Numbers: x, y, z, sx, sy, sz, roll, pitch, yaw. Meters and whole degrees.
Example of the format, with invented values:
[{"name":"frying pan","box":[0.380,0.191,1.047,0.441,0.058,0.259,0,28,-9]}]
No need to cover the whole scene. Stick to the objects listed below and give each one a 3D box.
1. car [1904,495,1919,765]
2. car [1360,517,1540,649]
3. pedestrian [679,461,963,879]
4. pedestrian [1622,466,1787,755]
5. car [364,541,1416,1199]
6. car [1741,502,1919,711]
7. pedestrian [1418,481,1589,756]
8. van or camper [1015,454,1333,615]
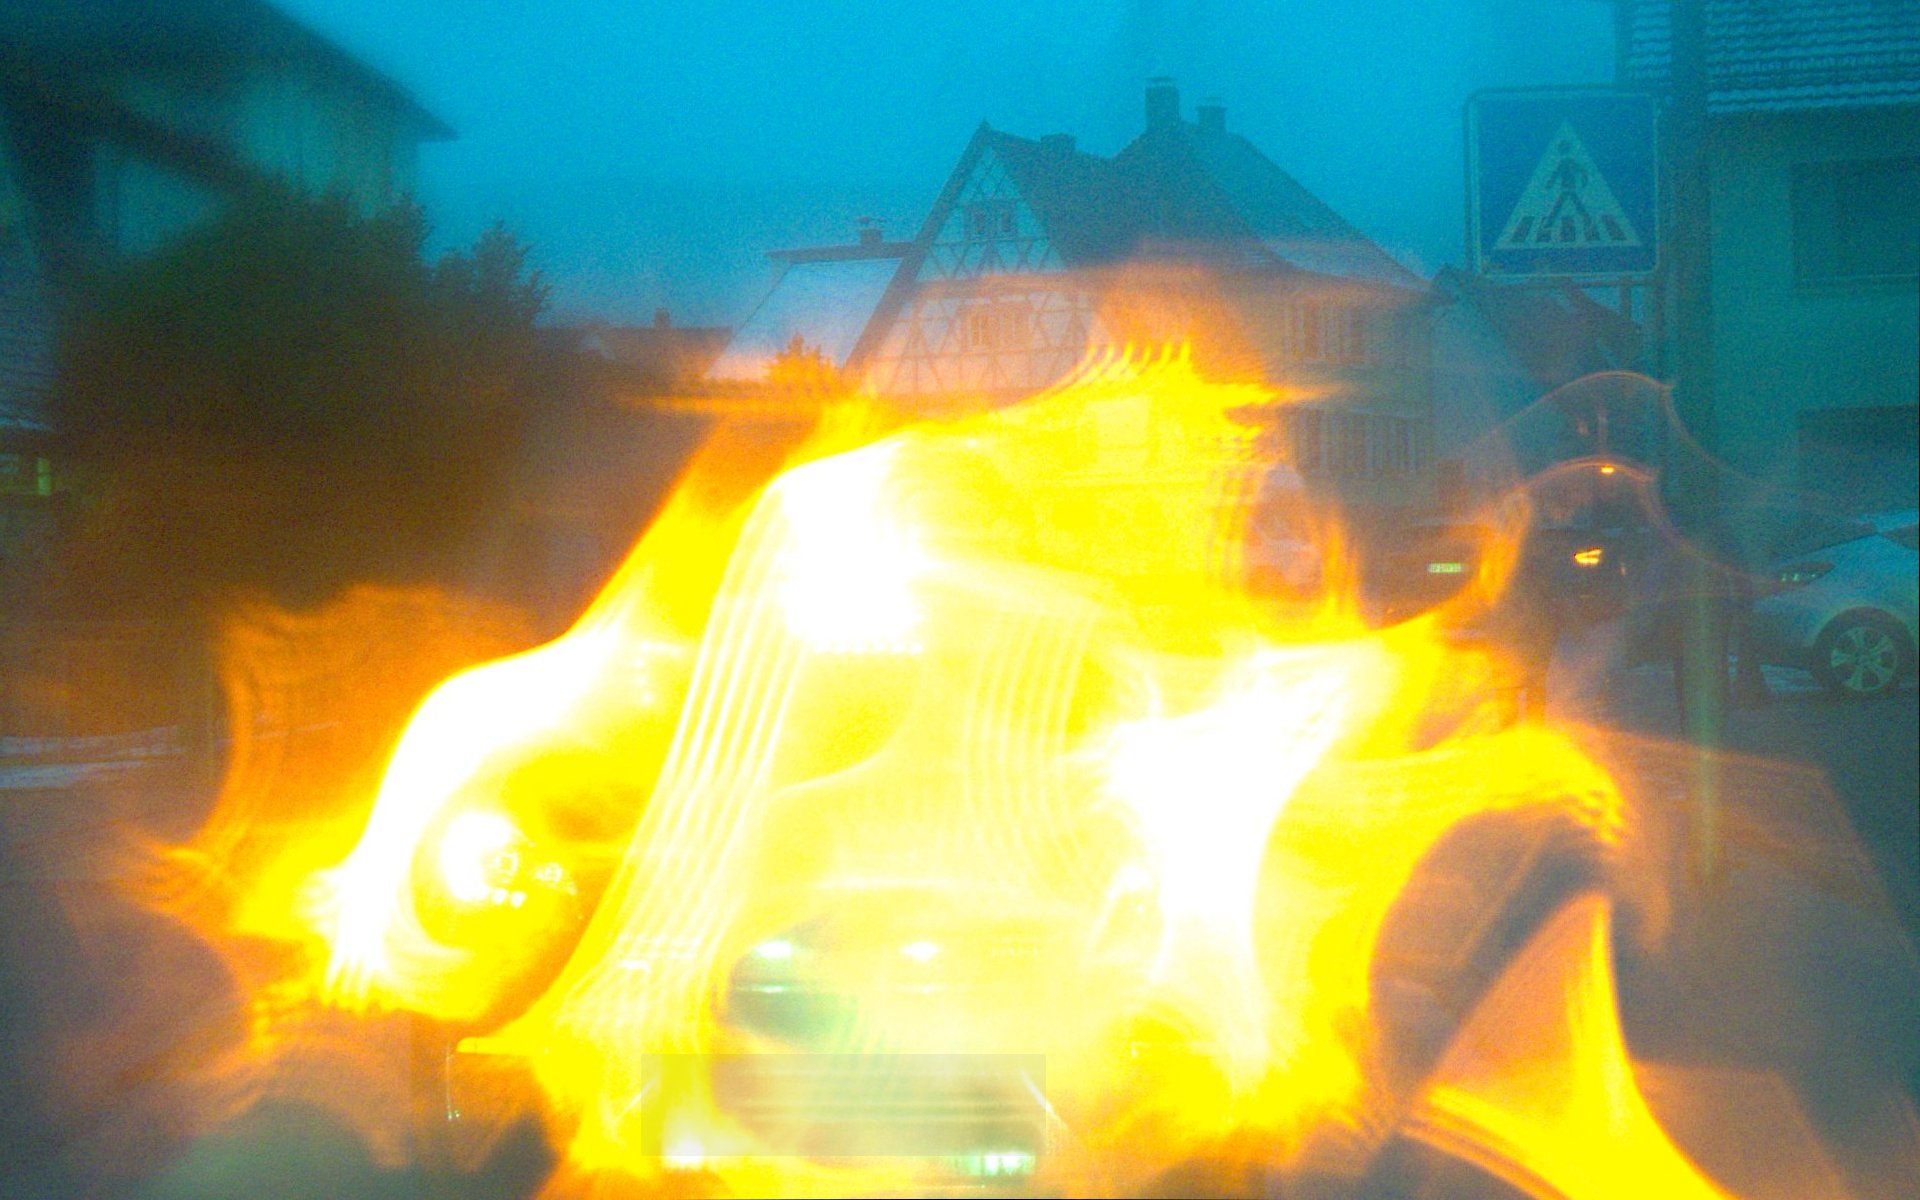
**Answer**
[{"name":"car","box":[6.666,0.140,18.917,2.583,1.542,1.551,-2,1,7]},{"name":"car","box":[6.440,-0.253,44.869,1.849,1.631,4.333,0,1,15]},{"name":"pedestrian","box":[-0.595,0.290,15.049,0.880,1.729,0.955,-4,1,15]},{"name":"pedestrian","box":[4.680,0.055,21.571,0.849,1.727,0.971,-4,1,15]},{"name":"car","box":[-0.296,0.613,7.856,1.795,1.471,4.001,0,1,-5]},{"name":"car","box":[7.885,-0.022,25.599,3.901,1.469,1.750,-2,1,10]},{"name":"pedestrian","box":[3.466,0.106,21.852,0.867,1.661,0.991,-4,1,15]},{"name":"van or camper","box":[4.498,-1.360,72.456,6.067,2.945,2.403,-4,0,23]}]
